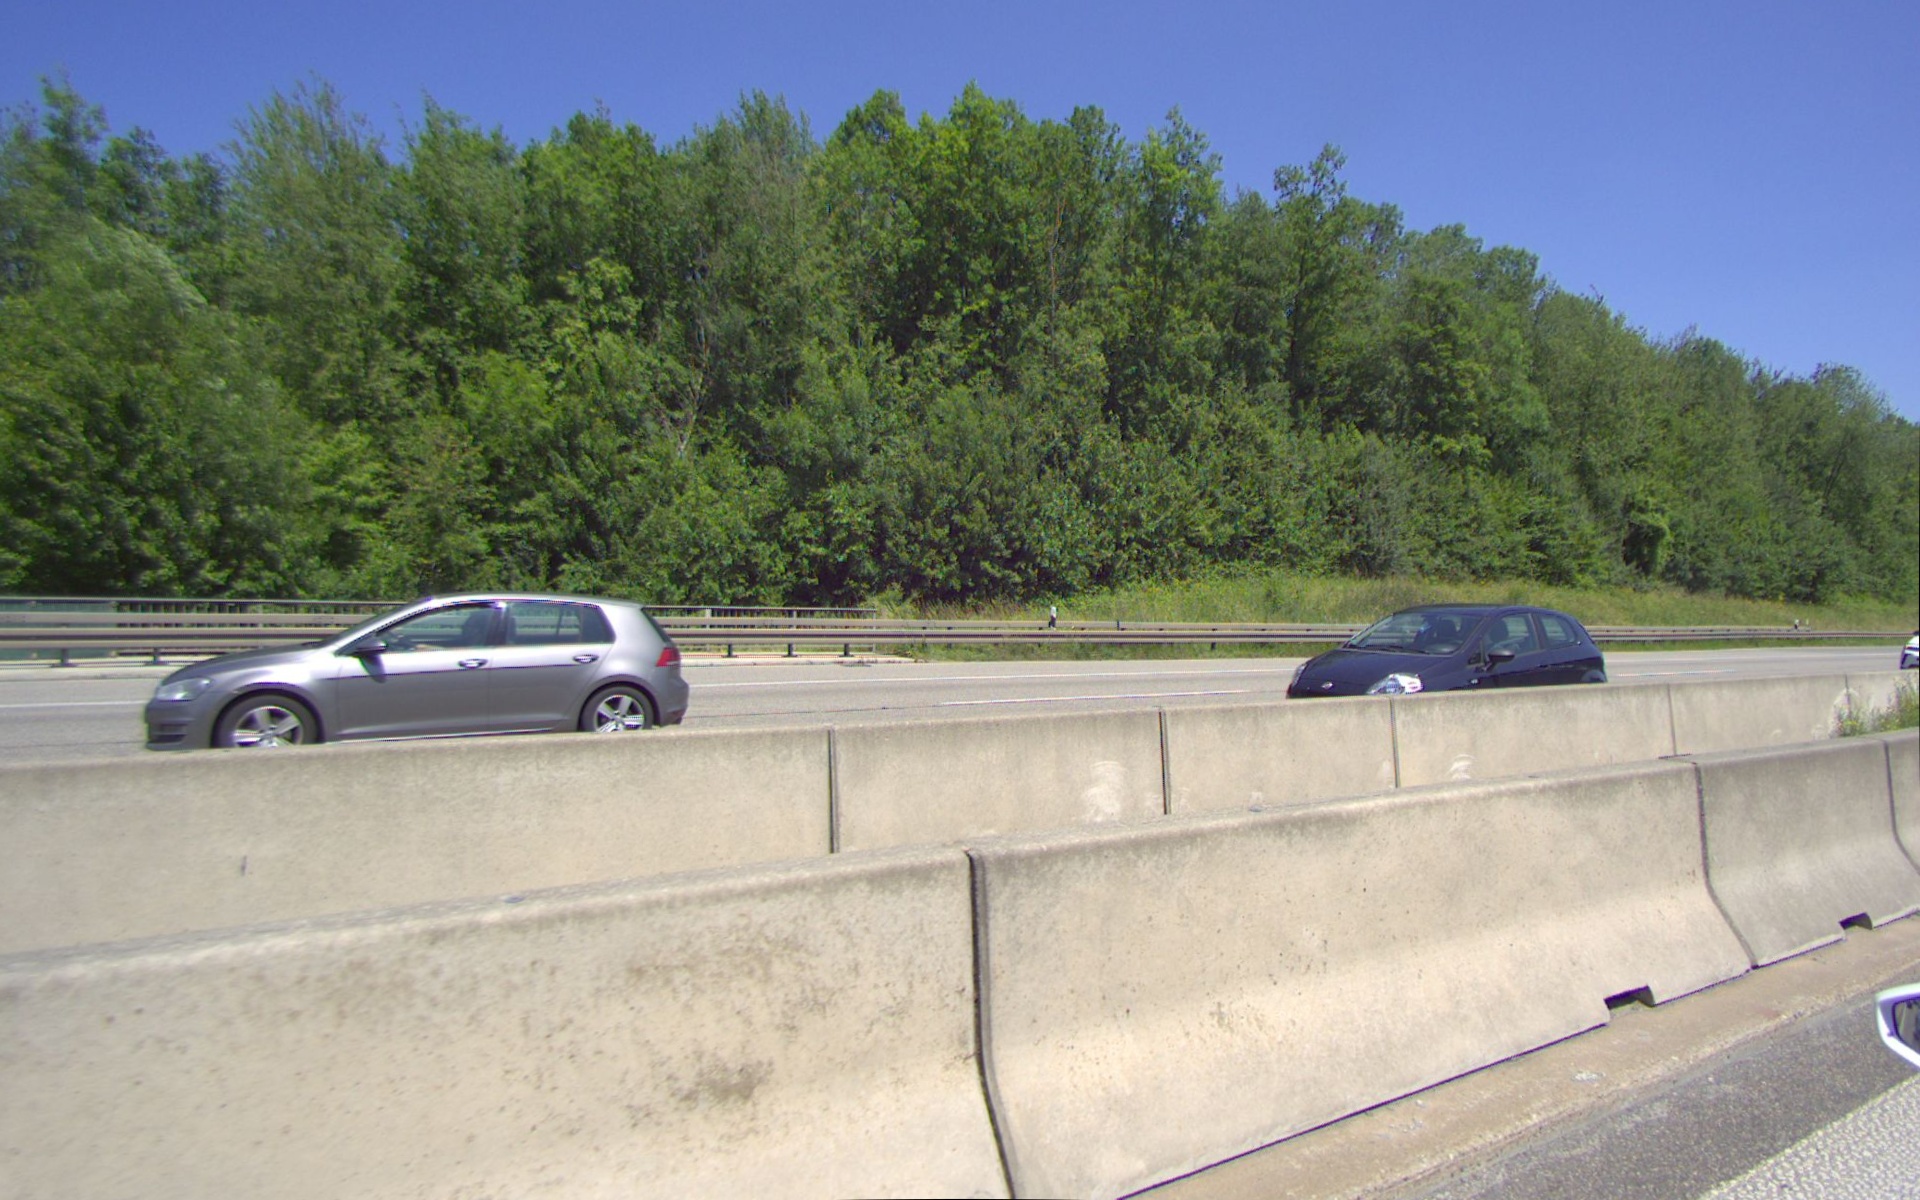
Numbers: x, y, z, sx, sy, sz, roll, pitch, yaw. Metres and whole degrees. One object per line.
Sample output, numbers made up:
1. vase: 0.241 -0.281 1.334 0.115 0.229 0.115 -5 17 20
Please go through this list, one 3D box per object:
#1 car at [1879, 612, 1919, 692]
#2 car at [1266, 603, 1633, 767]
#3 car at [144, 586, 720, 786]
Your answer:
1. car: 20.700 1.054 20.421 4.206 1.547 1.795 1 0 -30
2. car: 5.236 0.791 10.656 3.811 1.447 1.657 1 0 -30
3. car: -4.493 0.643 9.076 4.183 1.439 1.834 1 0 -30
